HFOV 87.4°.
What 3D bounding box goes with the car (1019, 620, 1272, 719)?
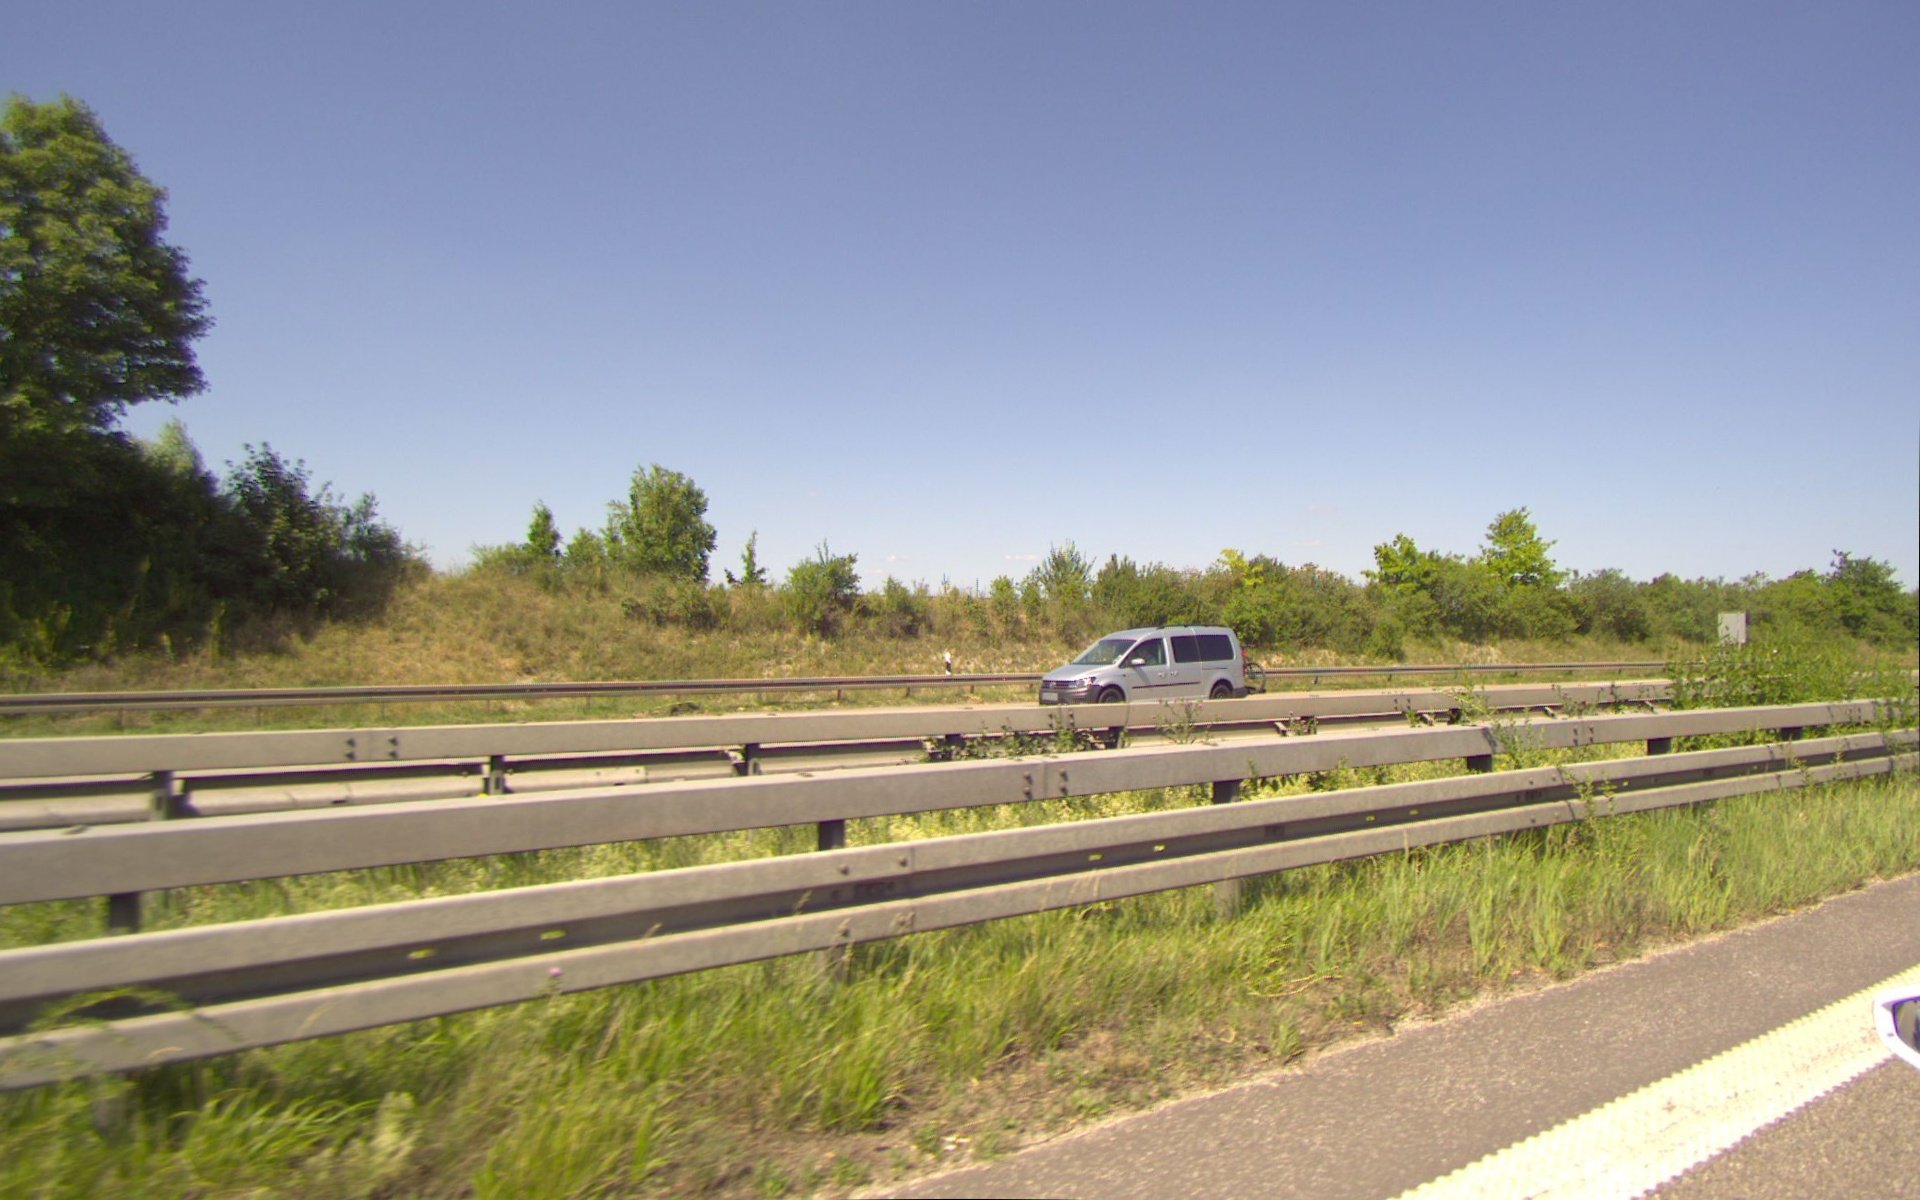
[{"bbox_3d":[3.968,1.430,21.177,5.273,1.859,1.984,1,-4,-32],"label":"car"}]
